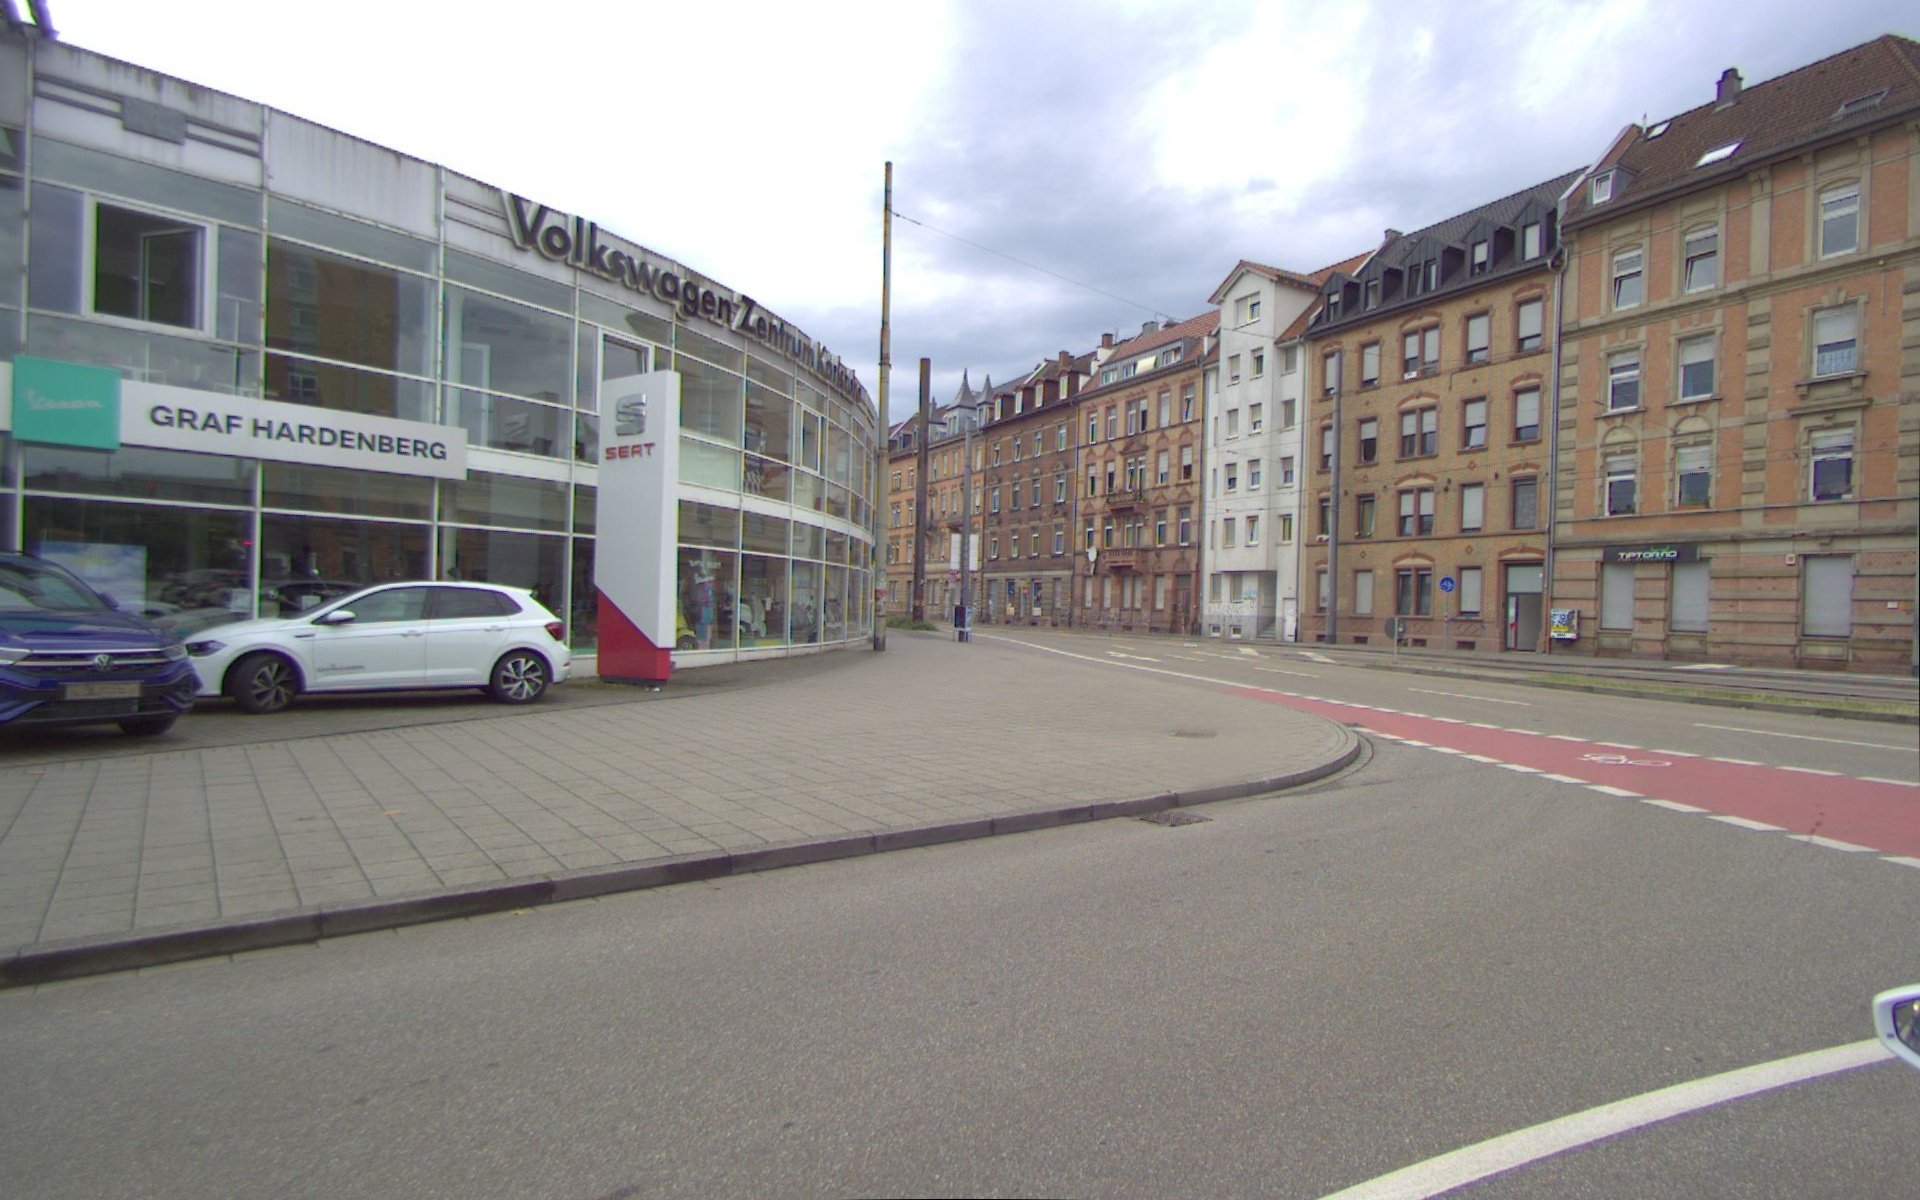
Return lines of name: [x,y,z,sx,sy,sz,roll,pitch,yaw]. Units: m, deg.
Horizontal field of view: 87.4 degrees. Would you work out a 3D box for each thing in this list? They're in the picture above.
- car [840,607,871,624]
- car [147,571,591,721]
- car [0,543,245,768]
car: [-9.819,1.410,94.165,1.828,1.500,3.806,1,0,-23]
car: [-6.756,0.494,11.807,4.222,1.472,1.765,2,-1,-36]
car: [-8.443,0.329,8.416,4.137,1.583,1.902,2,0,19]
